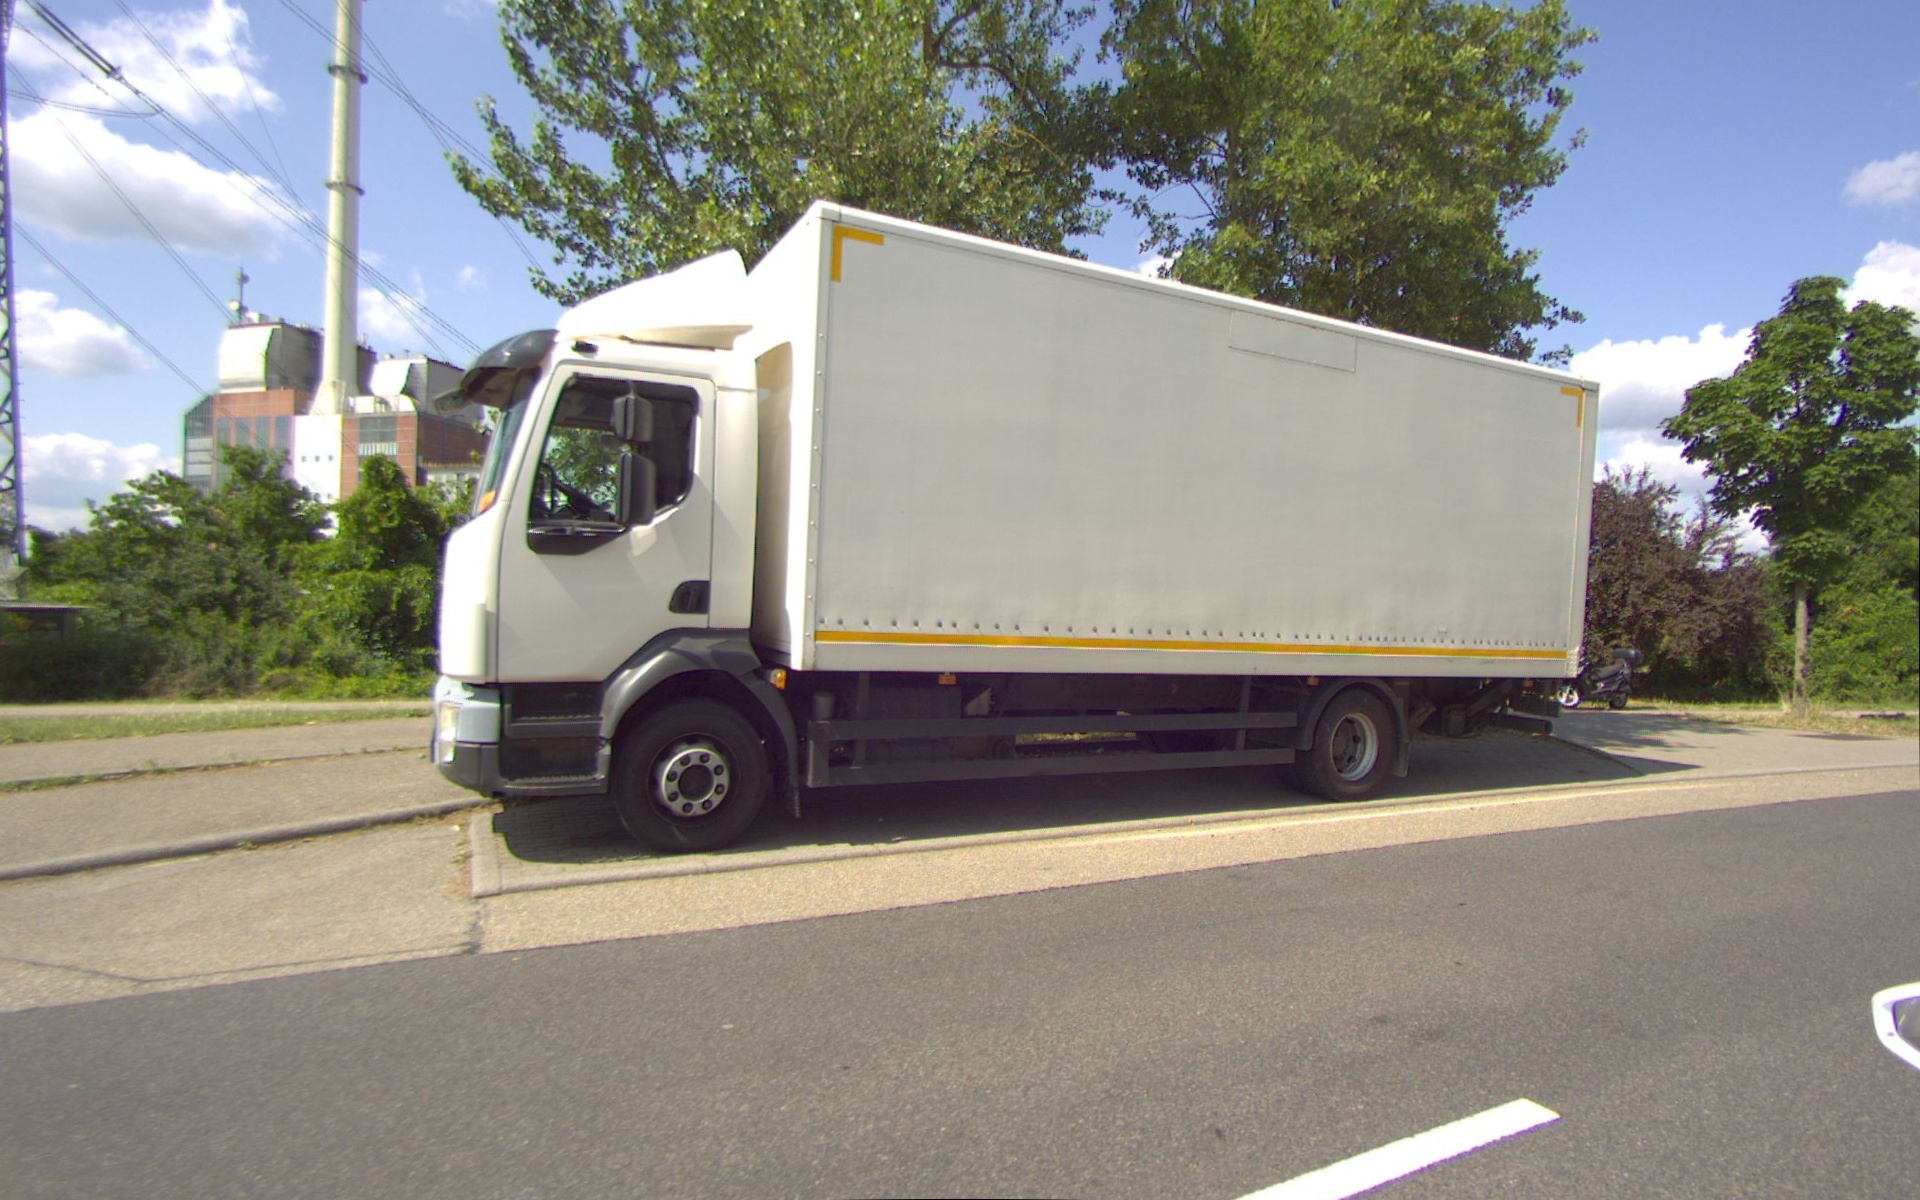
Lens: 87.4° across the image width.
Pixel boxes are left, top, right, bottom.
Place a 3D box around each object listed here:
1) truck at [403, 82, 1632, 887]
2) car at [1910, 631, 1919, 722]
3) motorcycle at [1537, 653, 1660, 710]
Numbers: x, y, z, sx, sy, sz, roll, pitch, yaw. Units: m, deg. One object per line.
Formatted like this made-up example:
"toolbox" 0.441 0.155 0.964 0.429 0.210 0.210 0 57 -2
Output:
"truck" 1.147 -0.405 7.665 9.246 3.615 2.312 2 1 -27
"car" 17.987 1.364 16.773 2.862 1.590 1.883 2 -1 38
"motorcycle" 13.314 1.703 20.975 2.210 1.100 0.741 2 -1 -9
